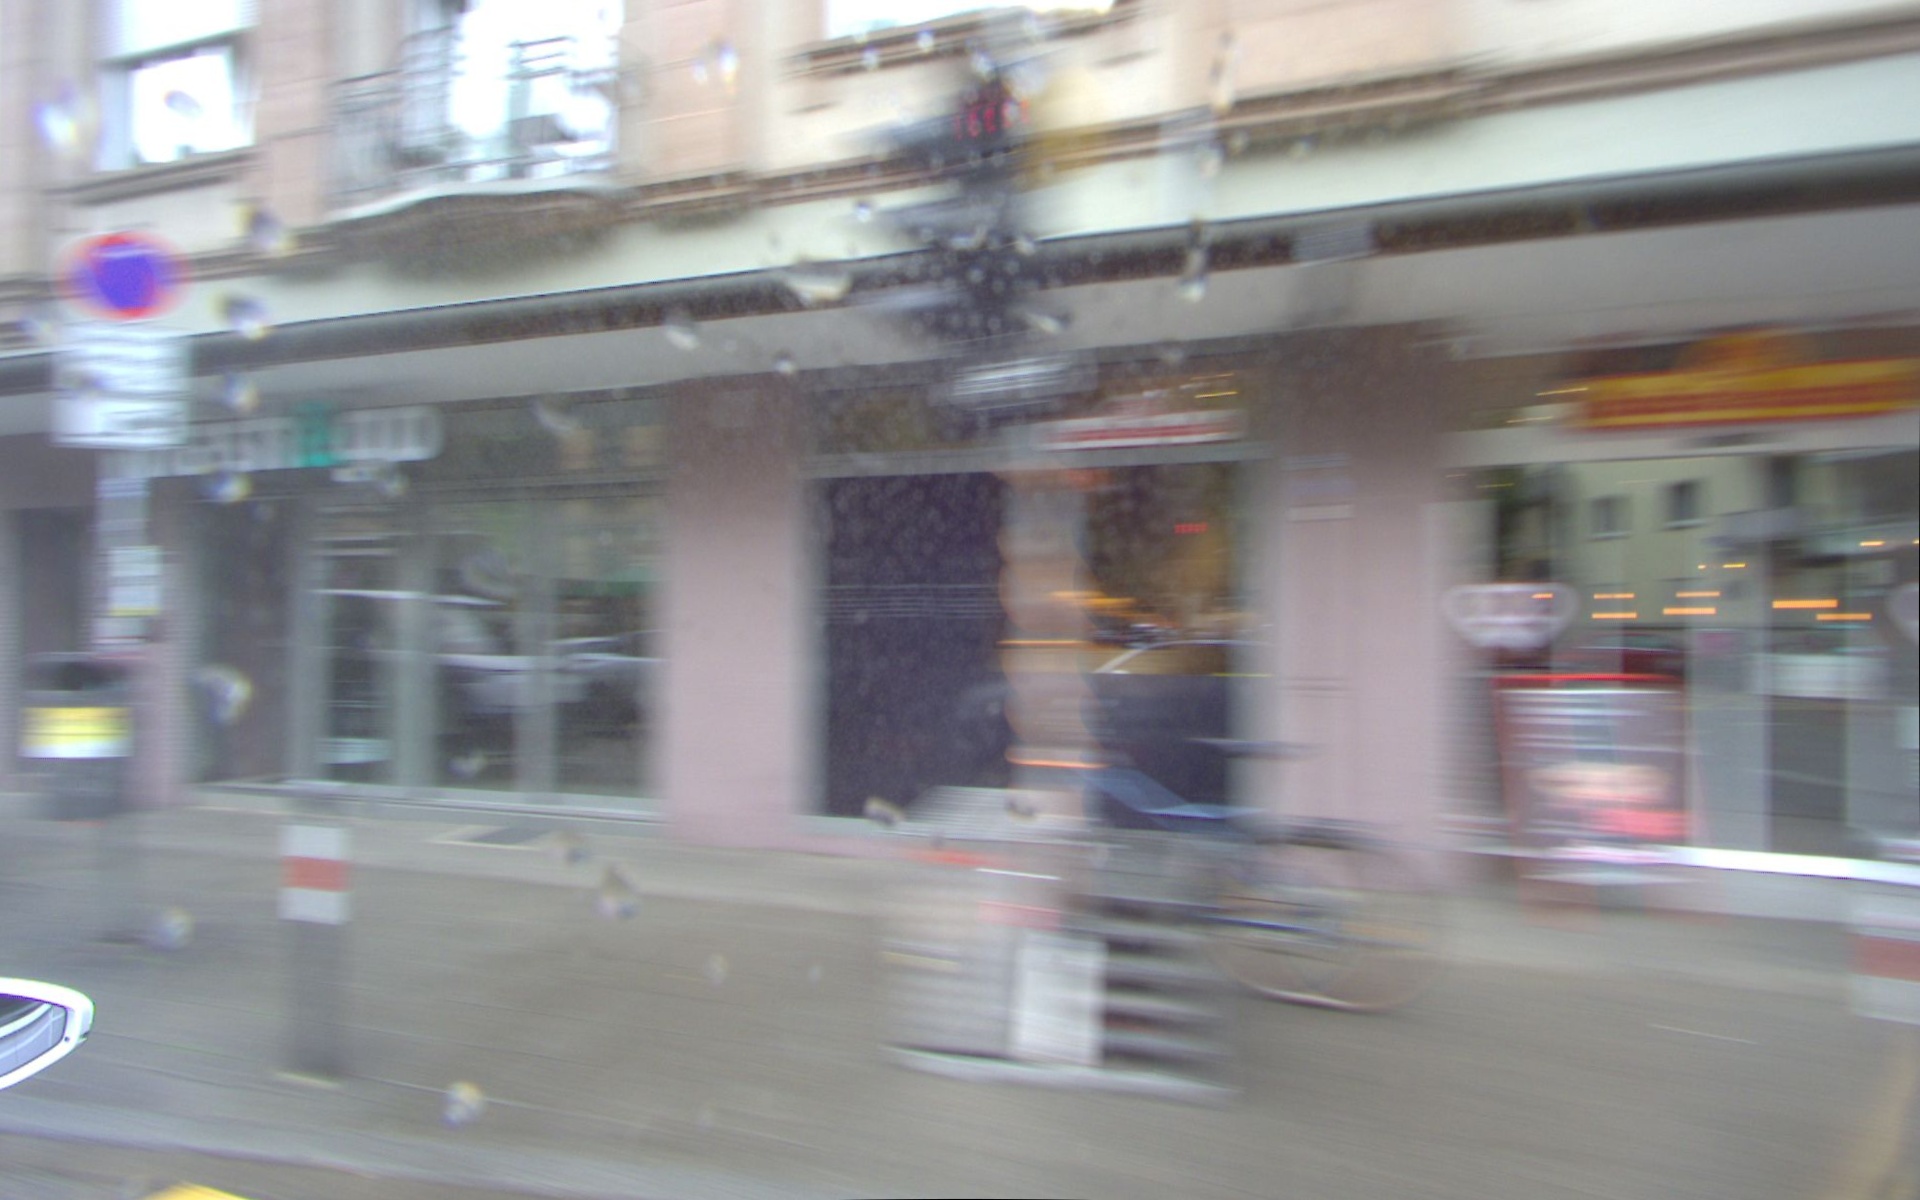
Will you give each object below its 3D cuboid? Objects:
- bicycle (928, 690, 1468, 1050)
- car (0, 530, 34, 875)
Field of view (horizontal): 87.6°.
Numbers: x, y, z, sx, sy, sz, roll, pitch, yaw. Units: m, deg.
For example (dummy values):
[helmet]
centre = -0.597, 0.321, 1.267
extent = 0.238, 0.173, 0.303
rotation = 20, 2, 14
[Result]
[bicycle]
centre = 0.876, 0.965, 3.939
extent = 1.902, 1.142, 0.625
rotation = 0, -1, 14
[car]
centre = -8.155, 0.594, 5.539
extent = 5.134, 1.964, 1.998
rotation = 0, 0, 15
